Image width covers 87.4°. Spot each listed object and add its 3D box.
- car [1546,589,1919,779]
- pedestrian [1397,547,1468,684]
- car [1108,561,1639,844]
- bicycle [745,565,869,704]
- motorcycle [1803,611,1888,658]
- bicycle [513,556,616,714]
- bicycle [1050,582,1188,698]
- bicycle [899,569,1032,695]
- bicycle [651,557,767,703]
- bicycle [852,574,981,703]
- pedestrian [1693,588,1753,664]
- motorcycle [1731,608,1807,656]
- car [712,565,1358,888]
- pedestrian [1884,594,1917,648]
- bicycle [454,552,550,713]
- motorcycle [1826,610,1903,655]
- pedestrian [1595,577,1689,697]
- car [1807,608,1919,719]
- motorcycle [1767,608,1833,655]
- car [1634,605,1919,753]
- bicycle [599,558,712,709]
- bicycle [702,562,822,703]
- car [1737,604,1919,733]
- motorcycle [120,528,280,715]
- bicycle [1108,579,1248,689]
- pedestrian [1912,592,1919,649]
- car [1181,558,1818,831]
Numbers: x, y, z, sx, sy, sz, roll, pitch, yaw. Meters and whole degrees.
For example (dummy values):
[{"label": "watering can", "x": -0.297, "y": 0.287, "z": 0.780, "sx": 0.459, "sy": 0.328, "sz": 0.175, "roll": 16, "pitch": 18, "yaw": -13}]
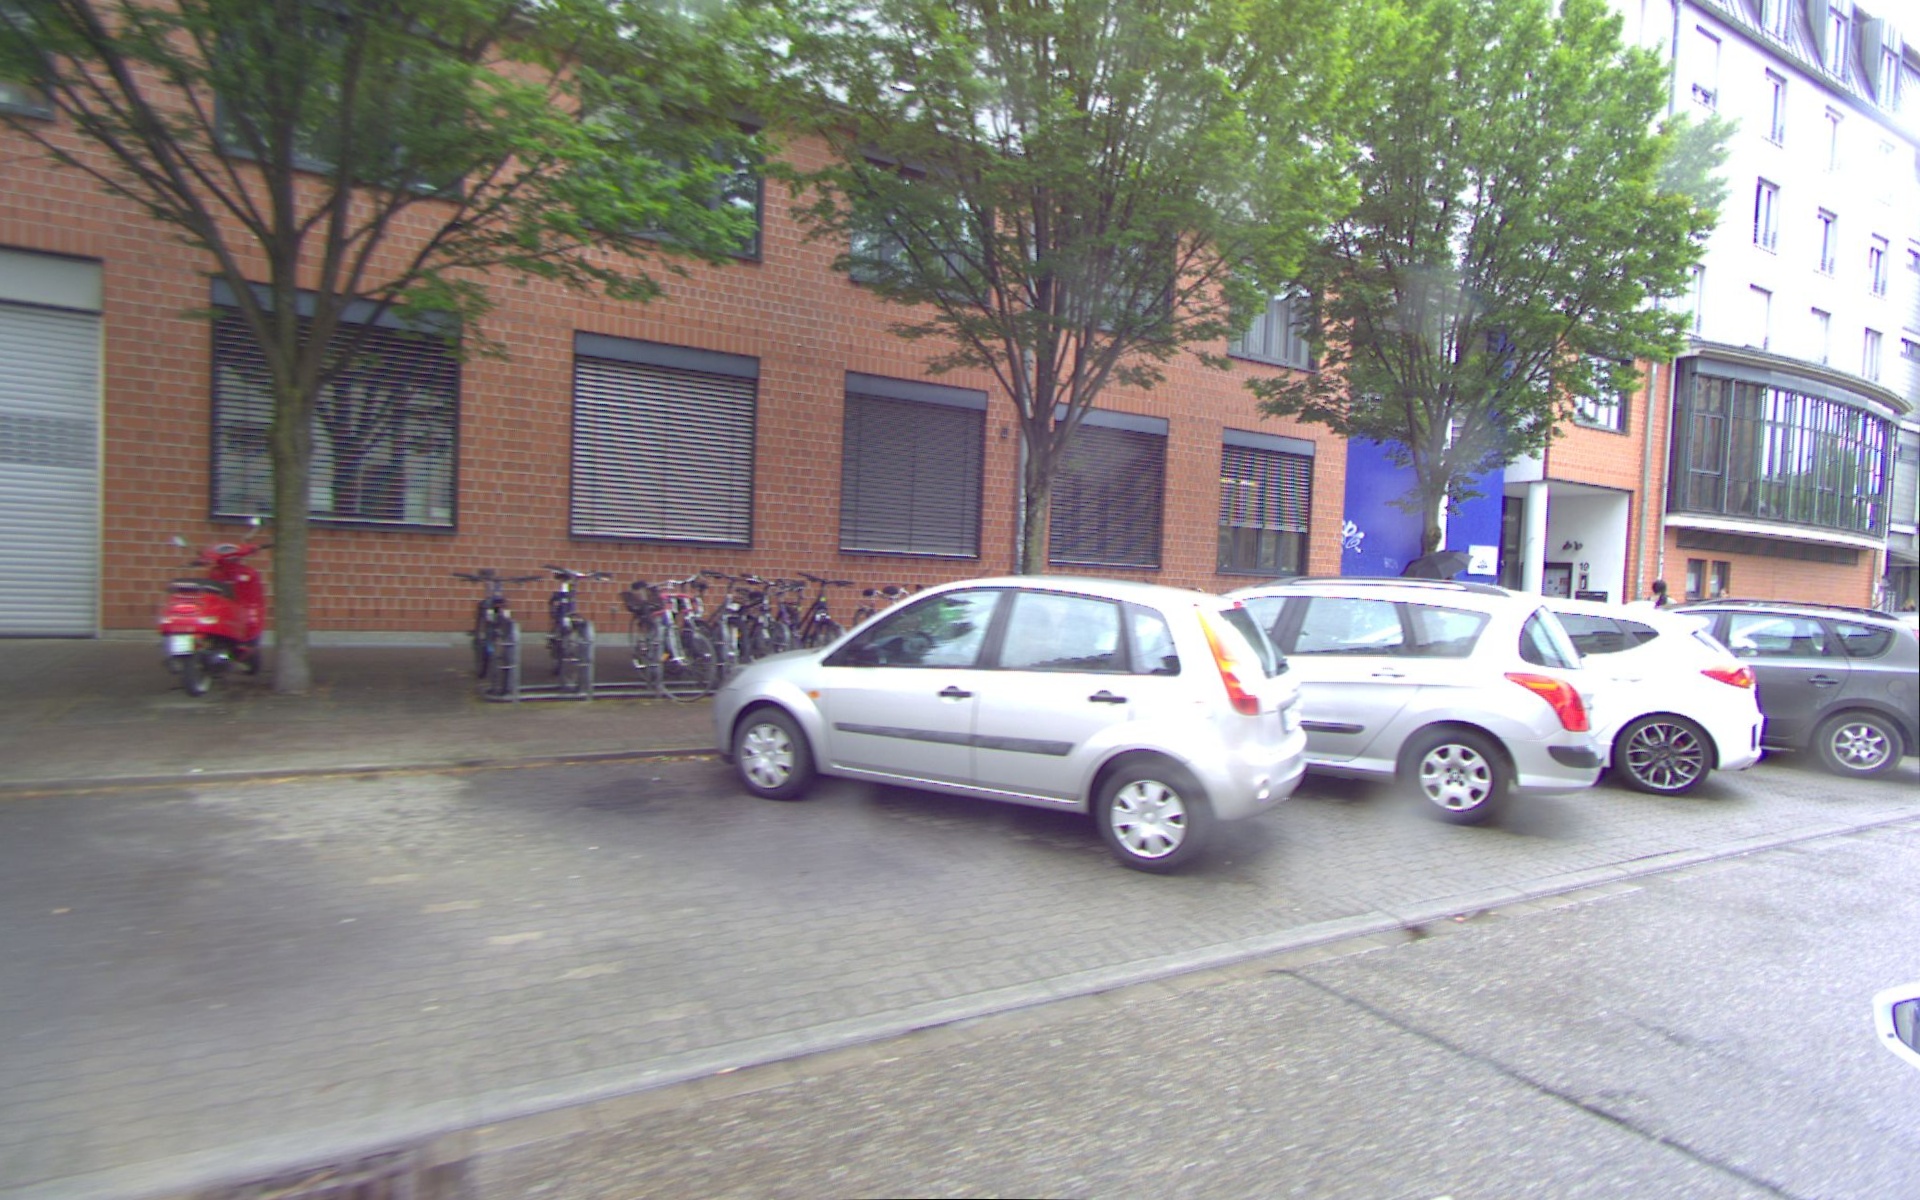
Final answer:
[{"label": "car", "x": 8.004, "y": 0.756, "z": 10.326, "sx": 3.326, "sy": 1.562, "sz": 1.677, "roll": 4, "pitch": 2, "yaw": 30}, {"label": "pedestrian", "x": 6.171, "y": 0.197, "z": 13.141, "sx": 0.428, "sy": 1.730, "sz": 0.609, "roll": 3, "pitch": 1, "yaw": -28}, {"label": "car", "x": 2.989, "y": 0.598, "z": 7.577, "sx": 3.325, "sy": 1.676, "sz": 1.631, "roll": 2, "pitch": 0, "yaw": 28}, {"label": "bicycle", "x": -1.634, "y": 0.307, "z": 10.425, "sx": 0.547, "sy": 1.168, "sz": 1.885, "roll": 1, "pitch": 6, "yaw": -31}, {"label": "motorcycle", "x": 25.075, "y": 0.981, "z": 28.451, "sx": 2.082, "sy": 1.190, "sz": 0.753, "roll": 2, "pitch": 4, "yaw": -17}, {"label": "bicycle", "x": -3.673, "y": 0.265, "z": 9.235, "sx": 0.547, "sy": 1.168, "sz": 1.885, "roll": 1, "pitch": 6, "yaw": -31}, {"label": "bicycle", "x": 1.950, "y": 0.456, "z": 12.596, "sx": 0.547, "sy": 1.168, "sz": 1.885, "roll": 1, "pitch": 6, "yaw": -31}, {"label": "bicycle", "x": 0.017, "y": 0.324, "z": 11.504, "sx": 0.547, "sy": 1.168, "sz": 1.885, "roll": 1, "pitch": 6, "yaw": -31}, {"label": "bicycle", "x": -2.522, "y": 0.246, "z": 9.930, "sx": 0.547, "sy": 1.168, "sz": 1.885, "roll": 1, "pitch": 6, "yaw": -31}, {"label": "bicycle", "x": -0.535, "y": 0.382, "z": 11.224, "sx": 0.547, "sy": 1.168, "sz": 1.885, "roll": 1, "pitch": 6, "yaw": -31}, {"label": "pedestrian", "x": 16.437, "y": 0.549, "z": 21.645, "sx": 0.598, "sy": 1.572, "sz": 0.707, "roll": 1, "pitch": 4, "yaw": -22}, {"label": "motorcycle", "x": 21.338, "y": 0.850, "z": 26.487, "sx": 2.090, "sy": 1.190, "sz": 0.750, "roll": 2, "pitch": 4, "yaw": -29}, {"label": "car", "x": 0.453, "y": 0.576, "z": 6.286, "sx": 3.644, "sy": 1.471, "sz": 1.684, "roll": 2, "pitch": 0, "yaw": 26}, {"label": "pedestrian", "x": 30.400, "y": 0.686, "z": 32.471, "sx": 0.652, "sy": 1.697, "sz": 0.793, "roll": 2, "pitch": 1, "yaw": 37}, {"label": "bicycle", "x": -4.134, "y": 0.233, "z": 8.988, "sx": 0.547, "sy": 1.168, "sz": 1.885, "roll": 1, "pitch": 6, "yaw": -31}, {"label": "motorcycle", "x": 26.532, "y": 0.946, "z": 29.487, "sx": 1.747, "sy": 1.190, "sz": 0.572, "roll": 3, "pitch": 3, "yaw": -6}, {"label": "pedestrian", "x": 10.634, "y": 0.566, "z": 15.683, "sx": 0.746, "sy": 1.776, "sz": 0.823, "roll": 1, "pitch": 4, "yaw": -22}, {"label": "car", "x": 15.033, "y": 0.988, "z": 14.626, "sx": 3.763, "sy": 1.527, "sz": 1.984, "roll": 4, "pitch": 2, "yaw": 31}, {"label": "motorcycle", "x": 23.127, "y": 0.875, "z": 27.648, "sx": 2.093, "sy": 1.190, "sz": 0.749, "roll": 1, "pitch": 4, "yaw": -33}, {"label": "car", "x": 10.262, "y": 0.902, "z": 12.087, "sx": 3.324, "sy": 1.477, "sz": 1.678, "roll": 4, "pitch": 2, "yaw": 28}, {"label": "bicycle", "x": -2.955, "y": 0.264, "z": 9.619, "sx": 0.547, "sy": 1.168, "sz": 1.885, "roll": 1, "pitch": 6, "yaw": -31}, {"label": "bicycle", "x": -2.065, "y": 0.277, "z": 10.241, "sx": 0.547, "sy": 1.168, "sz": 1.885, "roll": 1, "pitch": 6, "yaw": -31}, {"label": "car", "x": 12.597, "y": 0.917, "z": 13.351, "sx": 3.327, "sy": 1.527, "sz": 1.677, "roll": 4, "pitch": 2, "yaw": 31}, {"label": "motorcycle", "x": -6.056, "y": 0.106, "z": 8.111, "sx": 0.648, "sy": 1.242, "sz": 1.876, "roll": 1, "pitch": 6, "yaw": -25}, {"label": "bicycle", "x": 2.793, "y": 0.406, "z": 13.096, "sx": 0.547, "sy": 1.168, "sz": 1.885, "roll": 1, "pitch": 6, "yaw": -31}, {"label": "pedestrian", "x": 30.931, "y": 0.666, "z": 32.063, "sx": 0.652, "sy": 1.781, "sz": 0.793, "roll": 2, "pitch": 1, "yaw": 37}, {"label": "car", "x": 4.605, "y": 0.646, "z": 9.231, "sx": 4.443, "sy": 1.559, "sz": 2.334, "roll": 7, "pitch": 3, "yaw": 28}]
